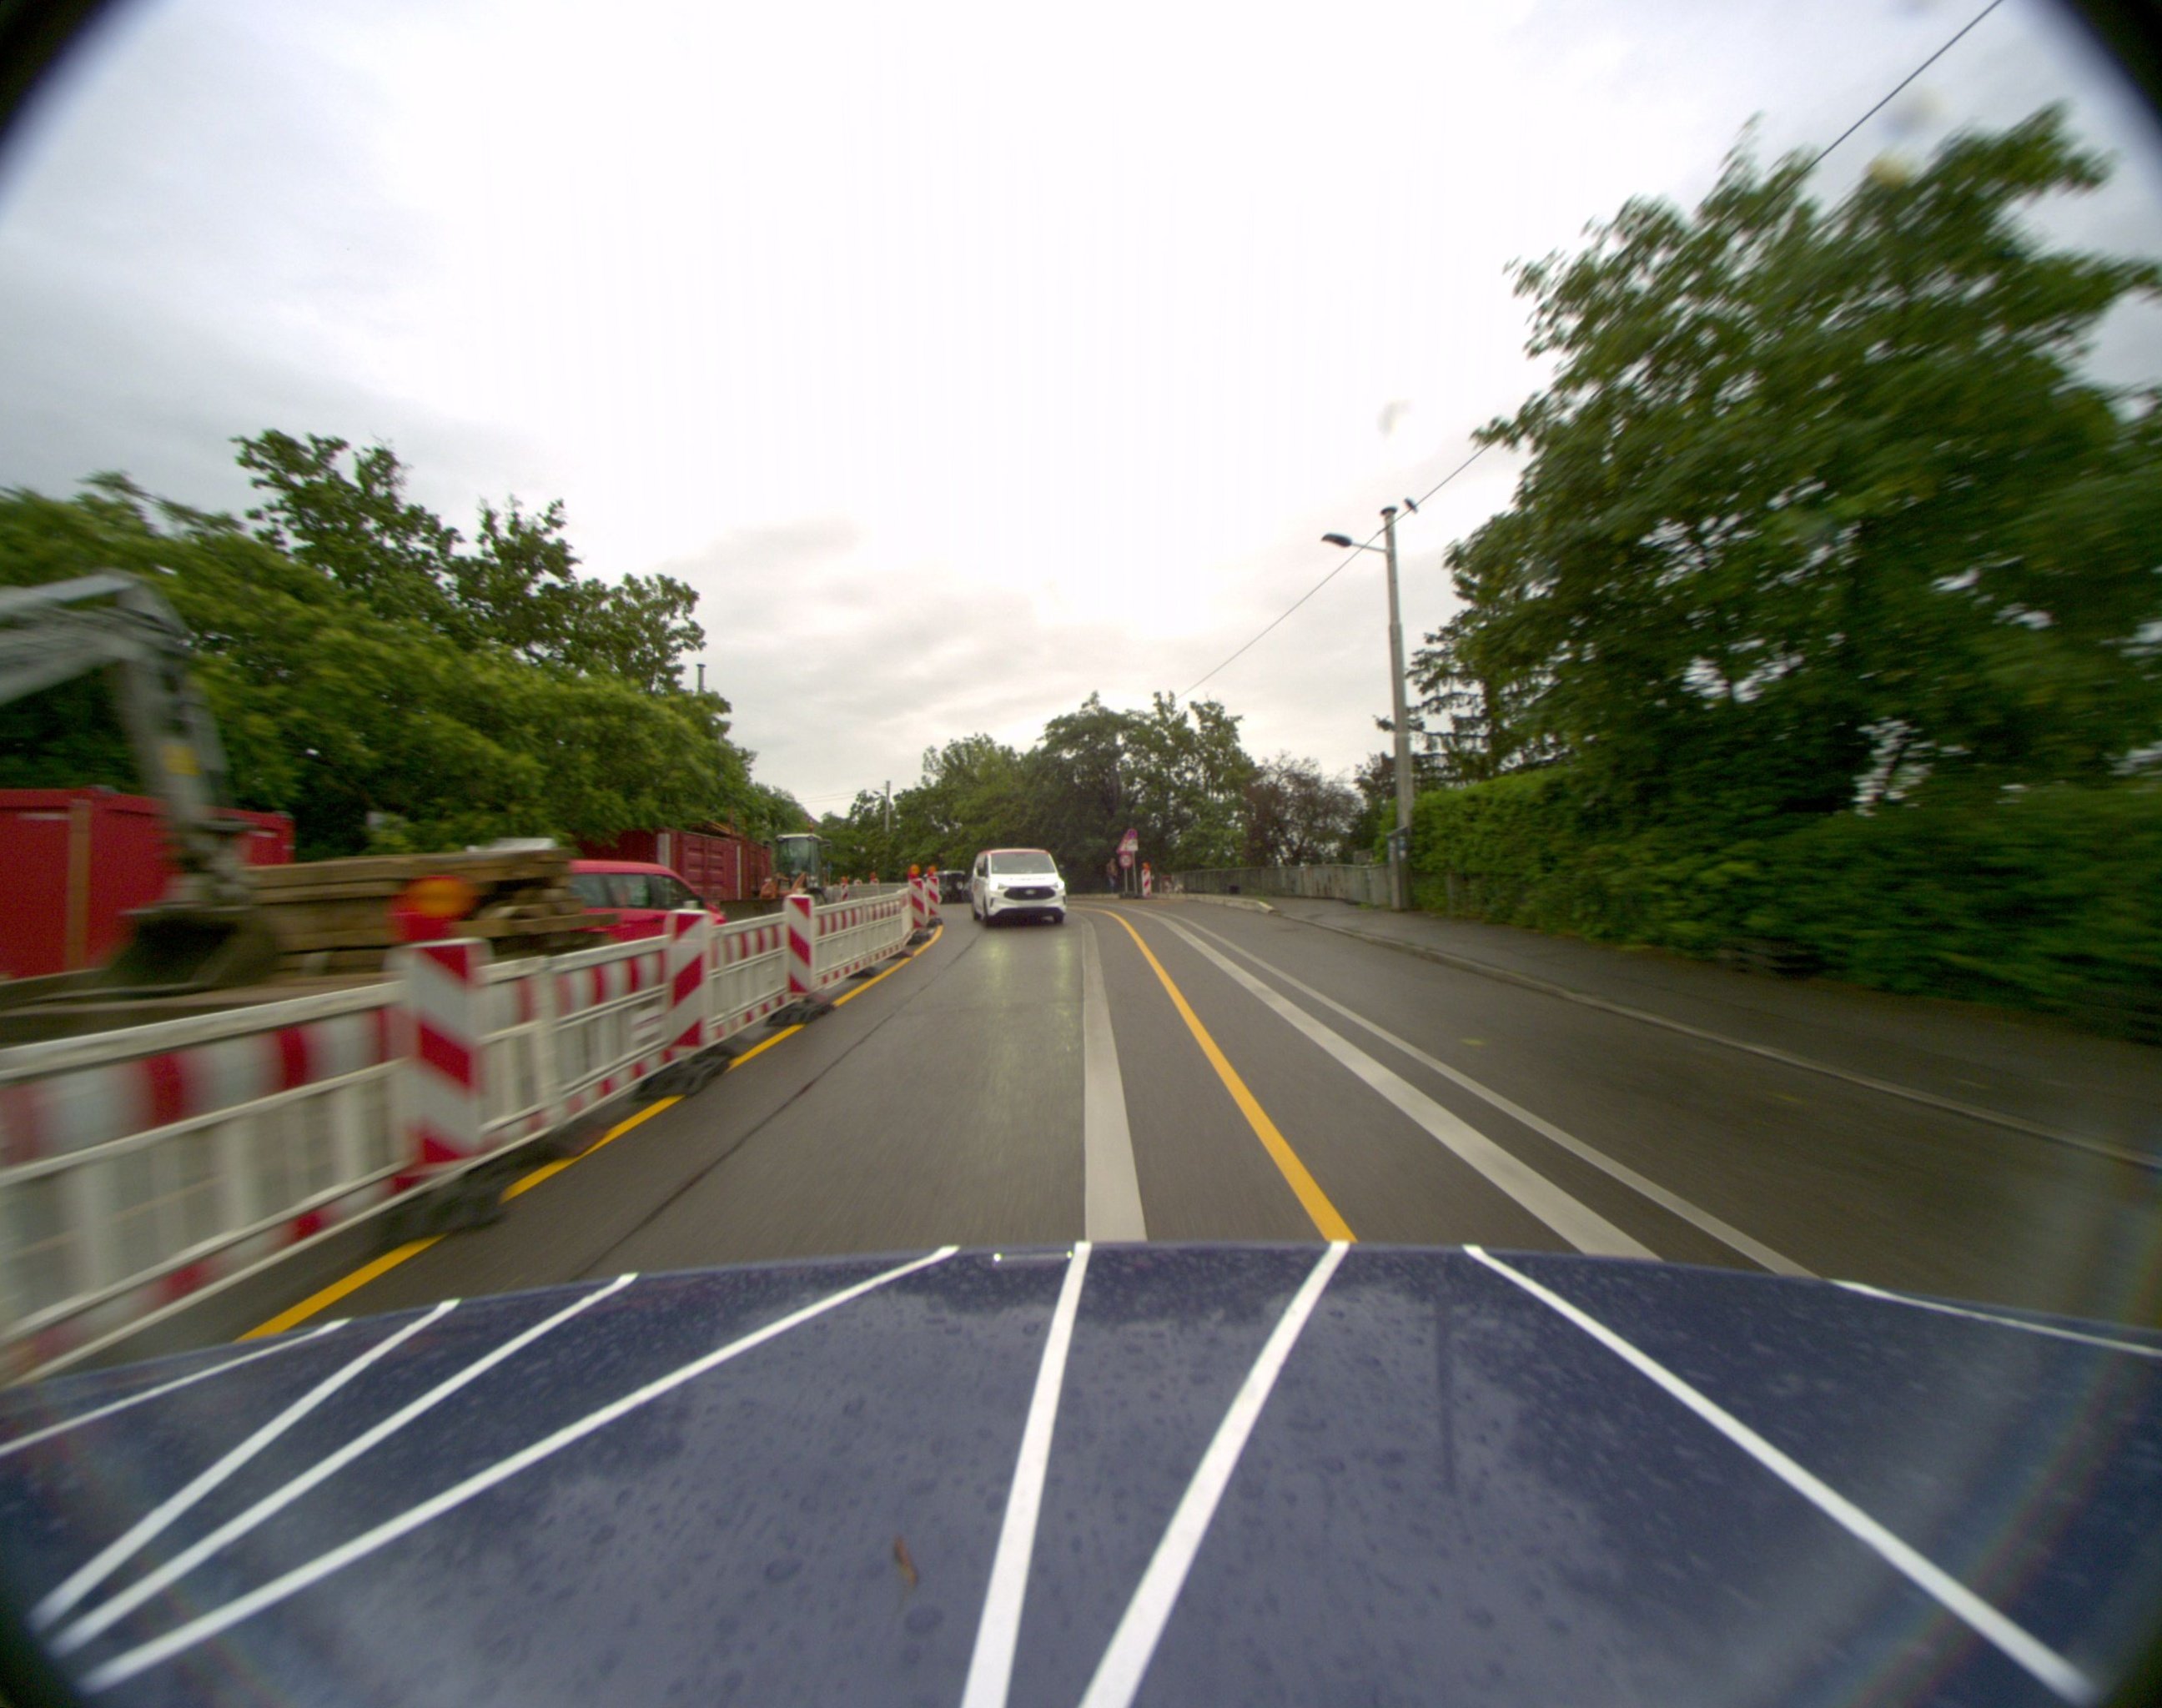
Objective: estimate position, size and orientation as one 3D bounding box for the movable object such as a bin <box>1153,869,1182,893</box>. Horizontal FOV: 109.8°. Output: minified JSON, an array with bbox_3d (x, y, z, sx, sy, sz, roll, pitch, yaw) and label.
[{"bbox_3d":[4.109,1.289,36.194,0.990,1.099,1.026,0,-2,-20],"label":"movable object such as a bin"}]

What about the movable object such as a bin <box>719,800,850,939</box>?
[{"bbox_3d":[-7.843,0.634,20.696,2.082,3.204,5.286,-3,-6,-8],"label":"movable object such as a bin"}]

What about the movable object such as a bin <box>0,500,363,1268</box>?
[{"bbox_3d":[-5.608,0.148,2.909,1.999,3.287,3.832,-2,2,-4],"label":"movable object such as a bin"}]

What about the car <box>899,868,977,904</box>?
[{"bbox_3d":[-8.785,1.980,46.580,4.801,2.001,1.876,-4,-3,37],"label":"car"}]

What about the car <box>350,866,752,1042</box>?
[{"bbox_3d":[-6.692,1.100,10.535,1.998,1.769,4.998,-2,-1,0],"label":"car"}]

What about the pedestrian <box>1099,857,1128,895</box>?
[{"bbox_3d":[1.554,1.054,36.354,0.927,1.757,0.978,-1,-2,-29],"label":"pedestrian"}]

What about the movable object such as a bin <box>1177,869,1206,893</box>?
[{"bbox_3d":[5.245,1.299,36.144,0.990,1.099,1.026,0,-4,-20],"label":"movable object such as a bin"}]

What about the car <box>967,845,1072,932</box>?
[{"bbox_3d":[-1.806,0.863,20.535,2.001,2.001,4.943,-2,-1,-14],"label":"car"}]

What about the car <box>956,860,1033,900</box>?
[{"bbox_3d":[-4.887,1.486,42.341,2.004,2.001,4.937,-1,-2,-37],"label":"car"}]
